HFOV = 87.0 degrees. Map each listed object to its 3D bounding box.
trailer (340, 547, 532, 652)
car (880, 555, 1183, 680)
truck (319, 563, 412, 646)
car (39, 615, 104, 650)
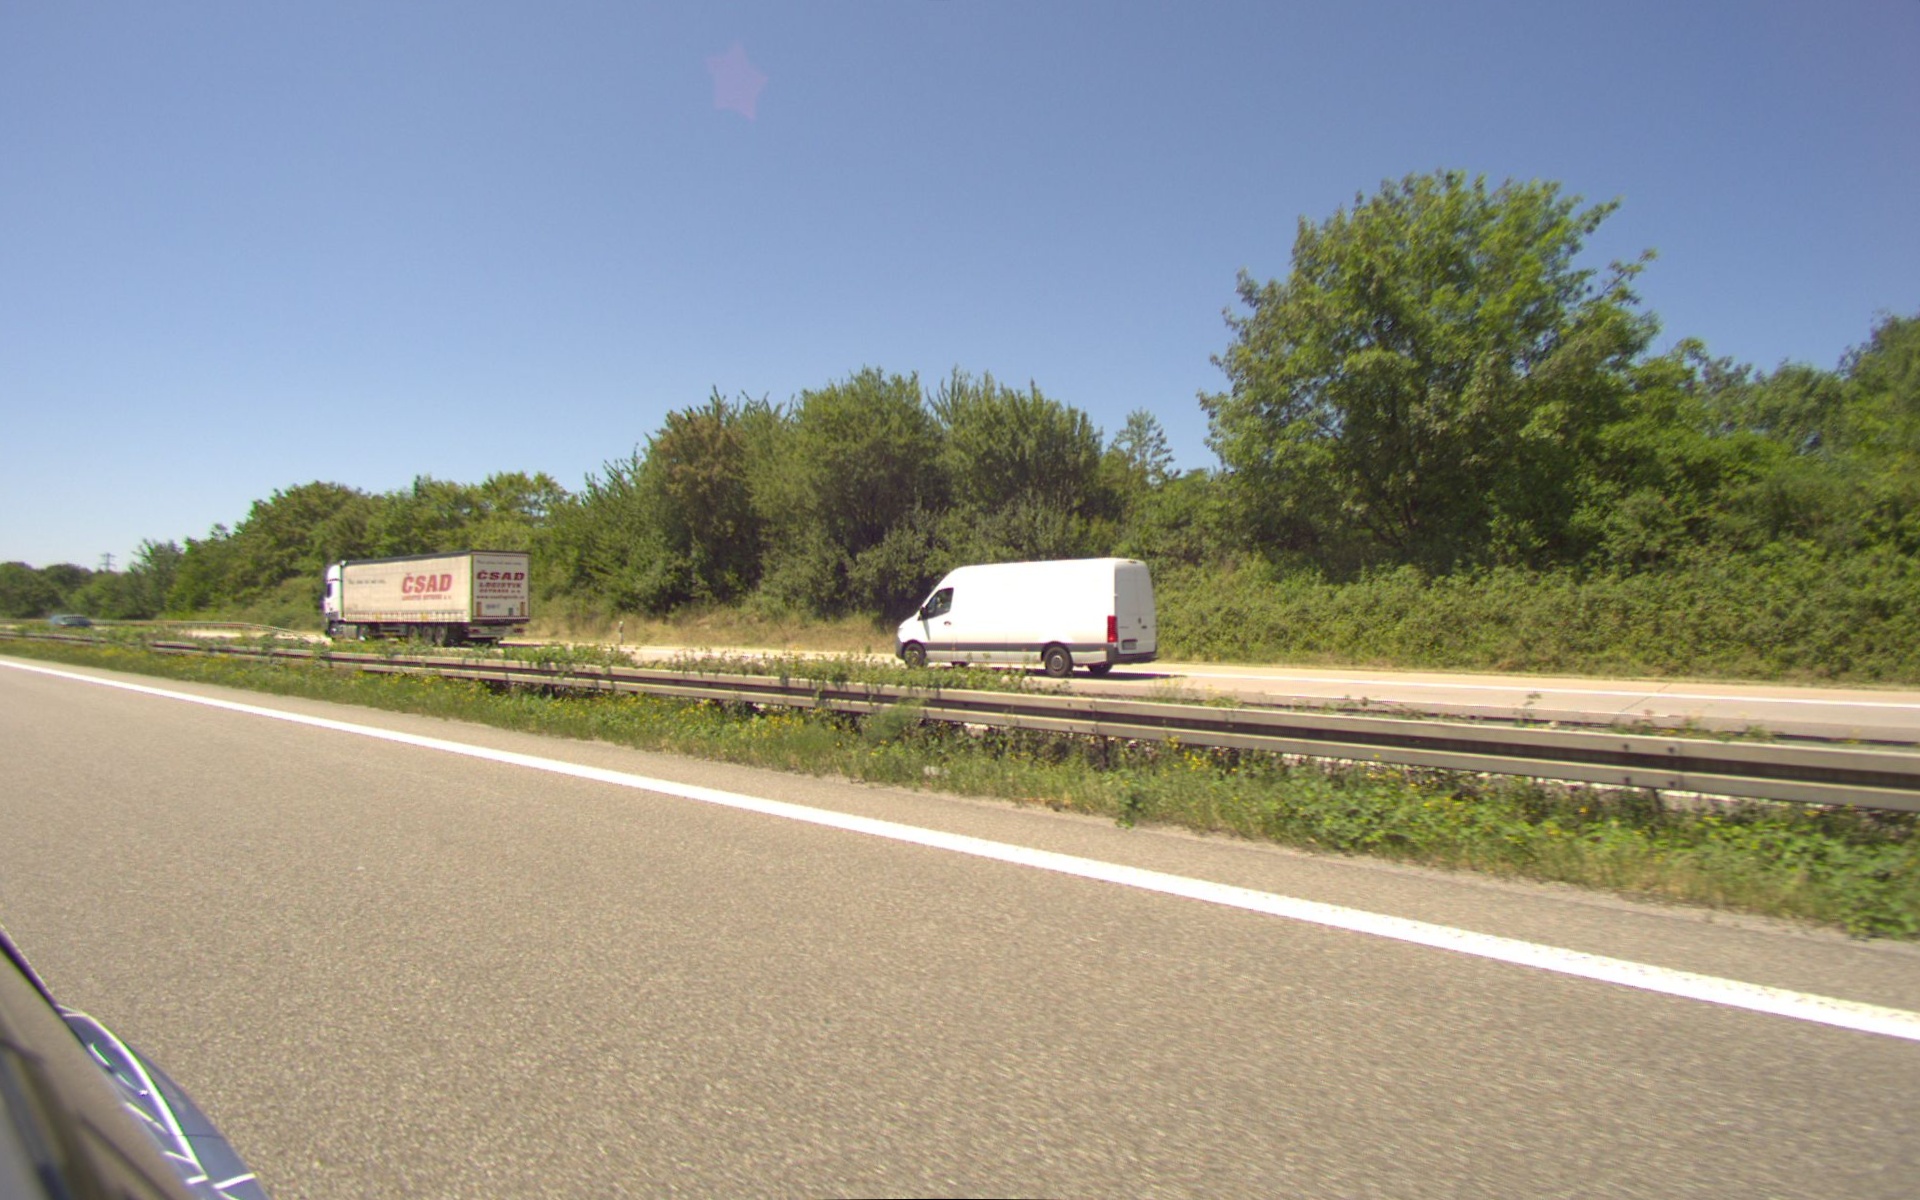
[{"bbox_3d":[-24.191,0.088,46.158,13.545,4.216,2.679,-1,-2,40],"label":"trailer"},{"bbox_3d":[1.476,0.427,24.212,7.386,2.596,2.206,-1,-2,41],"label":"car"},{"bbox_3d":[-29.892,0.258,50.873,4.439,3.996,2.675,-1,-2,40],"label":"truck"},{"bbox_3d":[-50.485,1.814,57.479,4.951,1.875,1.974,-1,-2,40],"label":"car"}]
